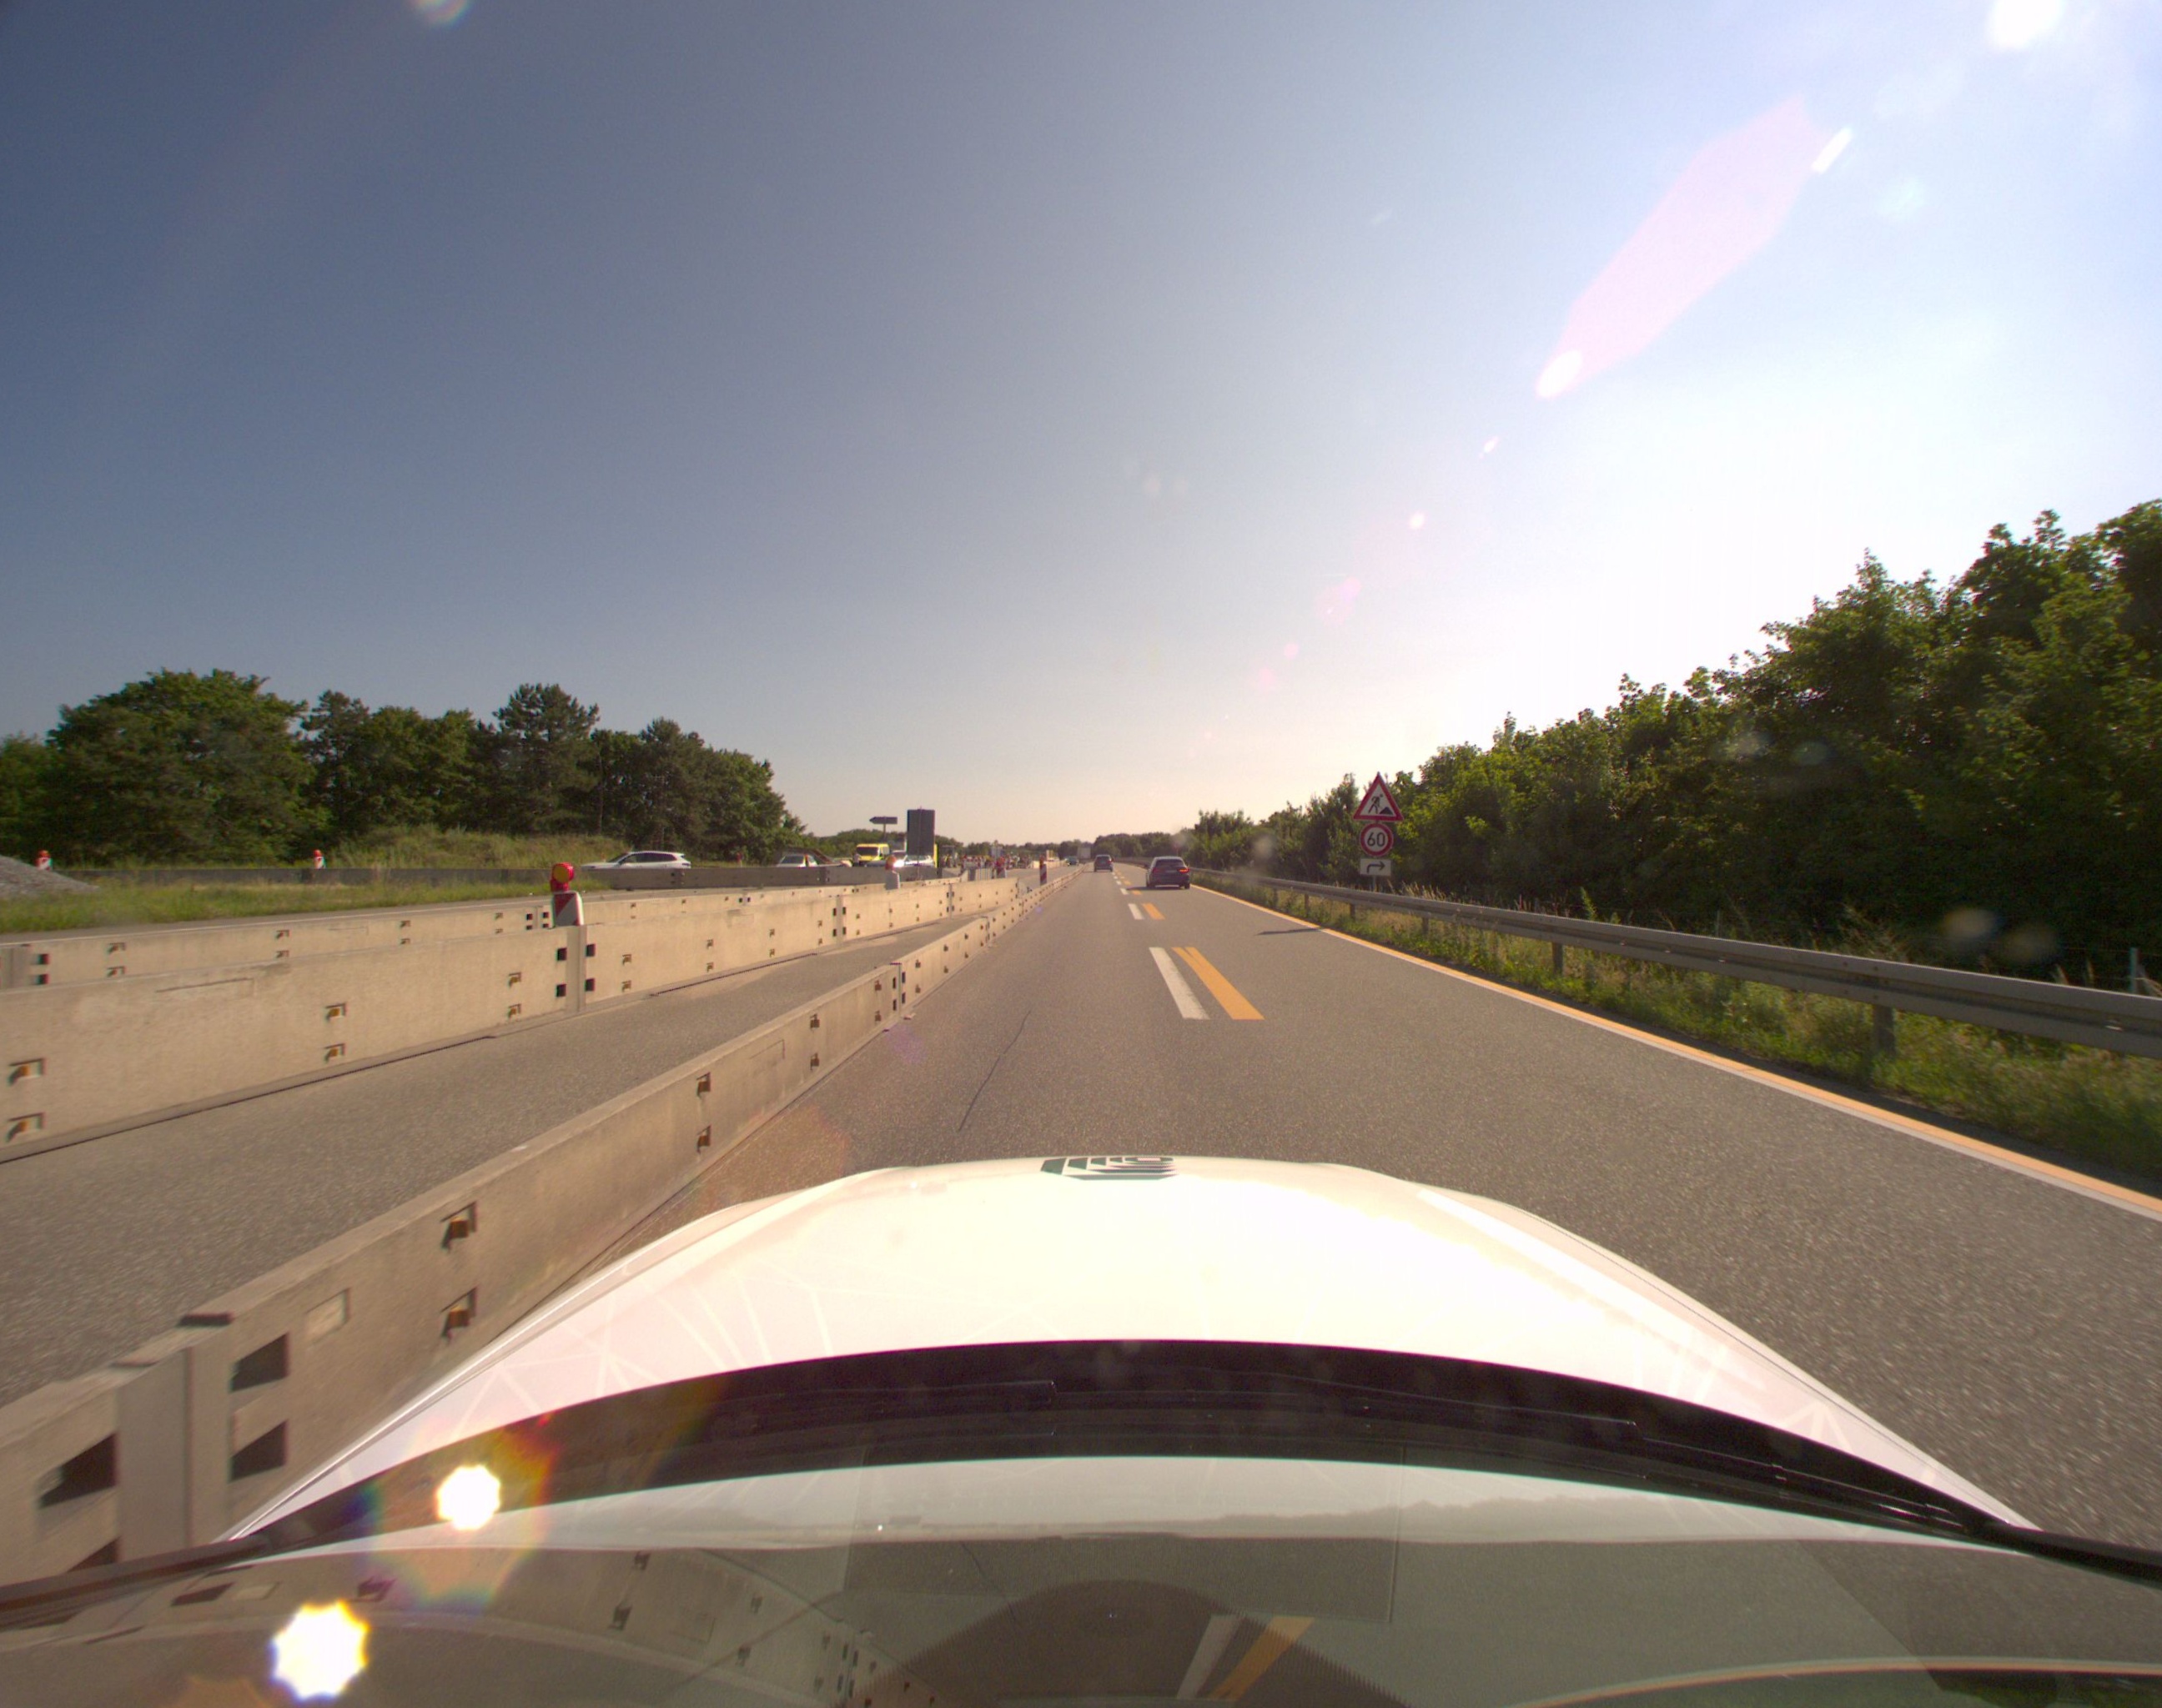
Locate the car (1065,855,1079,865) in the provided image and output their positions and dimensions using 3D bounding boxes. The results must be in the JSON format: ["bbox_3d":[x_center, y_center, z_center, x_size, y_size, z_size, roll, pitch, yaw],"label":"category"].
[{"bbox_3d":[-1.406,0.911,126.903,1.852,1.473,4.687,1,0,2],"label":"car"}]

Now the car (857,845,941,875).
[{"bbox_3d":[-10.342,0.343,46.607,1.975,1.622,4.877,1,0,28],"label":"car"}]

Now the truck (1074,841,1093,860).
[{"bbox_3d":[0.618,-0.911,214.699,3.755,4.911,14.111,0,0,-5],"label":"truck"}]

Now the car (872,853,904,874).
[{"bbox_3d":[-16.192,0.792,68.548,1.682,1.685,4.456,1,0,-1],"label":"car"}]

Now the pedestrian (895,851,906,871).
[{"bbox_3d":[-15.804,0.620,71.291,0.720,1.762,0.720,0,0,0],"label":"pedestrian"}]

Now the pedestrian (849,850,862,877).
[{"bbox_3d":[-15.358,0.654,55.415,0.741,1.820,0.794,-1,0,-10],"label":"pedestrian"}]

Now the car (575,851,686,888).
[{"bbox_3d":[-19.695,0.651,35.643,4.019,1.554,1.938,0,0,-38],"label":"car"}]

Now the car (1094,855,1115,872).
[{"bbox_3d":[2.275,0.923,78.097,1.986,1.567,4.002,-1,0,2],"label":"car"}]

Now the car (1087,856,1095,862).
[{"bbox_3d":[2.965,1.337,235.382,1.991,1.688,3.992,0,0,-6],"label":"car"}]

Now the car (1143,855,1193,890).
[{"bbox_3d":[3.911,0.786,37.250,1.914,1.494,4.000,0,0,0],"label":"car"}]

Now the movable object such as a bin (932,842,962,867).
[{"bbox_3d":[-15.252,0.044,93.145,2.021,2.715,5.117,-1,0,6],"label":"movable object such as a bin"}]

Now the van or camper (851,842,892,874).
[{"bbox_3d":[-16.131,0.309,63.006,1.990,2.378,6.192,0,0,-4],"label":"van or camper"}]
